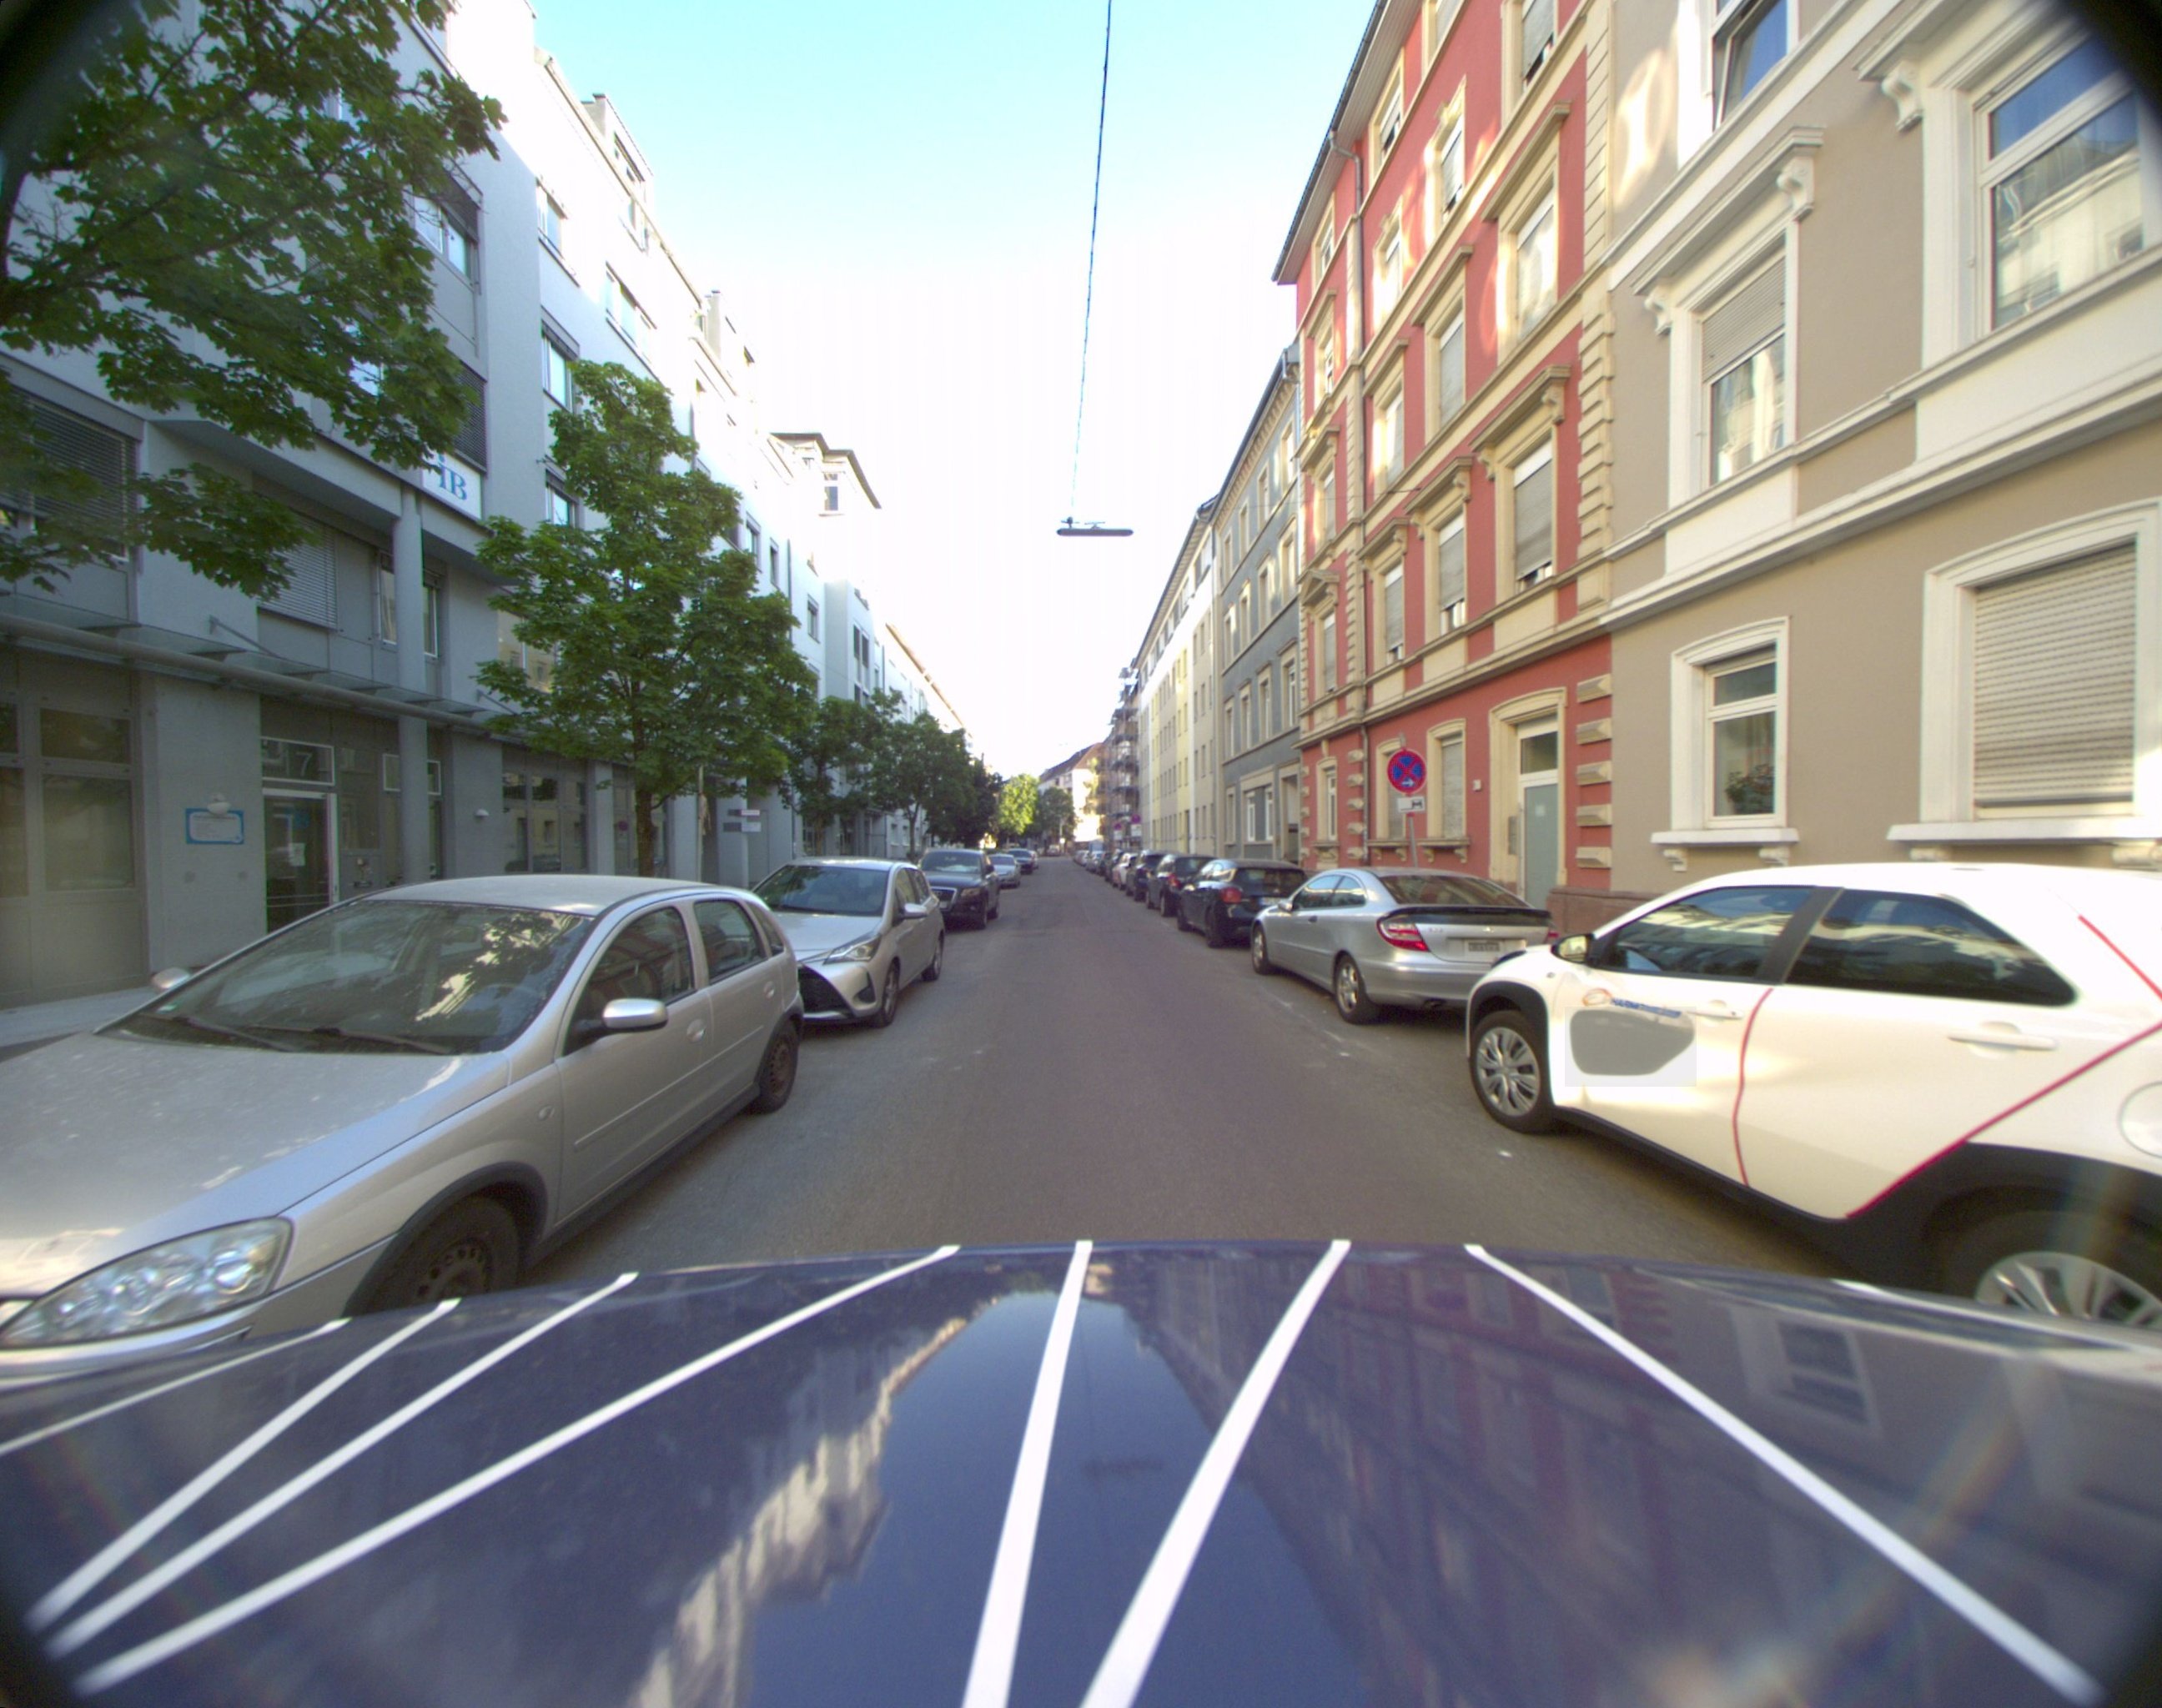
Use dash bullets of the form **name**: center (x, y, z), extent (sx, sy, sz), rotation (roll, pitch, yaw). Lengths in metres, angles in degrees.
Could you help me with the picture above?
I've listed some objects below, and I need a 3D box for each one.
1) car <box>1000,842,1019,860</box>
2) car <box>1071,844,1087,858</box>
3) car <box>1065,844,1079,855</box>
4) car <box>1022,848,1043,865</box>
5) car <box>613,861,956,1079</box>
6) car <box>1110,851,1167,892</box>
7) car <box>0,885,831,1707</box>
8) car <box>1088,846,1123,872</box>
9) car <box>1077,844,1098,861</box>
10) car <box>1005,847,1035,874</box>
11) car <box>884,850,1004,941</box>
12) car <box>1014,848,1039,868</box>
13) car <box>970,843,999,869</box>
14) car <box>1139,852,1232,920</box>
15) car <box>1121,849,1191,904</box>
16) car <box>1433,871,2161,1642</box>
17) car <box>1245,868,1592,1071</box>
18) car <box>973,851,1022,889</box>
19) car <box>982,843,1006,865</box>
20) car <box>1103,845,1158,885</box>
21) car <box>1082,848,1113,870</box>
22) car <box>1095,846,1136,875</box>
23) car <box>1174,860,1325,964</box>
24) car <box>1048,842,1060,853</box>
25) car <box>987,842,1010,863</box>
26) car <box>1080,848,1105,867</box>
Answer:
- **car**: center (-8.374, -0.370, 88.813), extent (1.999, 2.002, 3.998), rotation (-1, 1, -3)
- **car**: center (-0.320, -0.391, 102.891), extent (1.999, 1.783, 3.999), rotation (-1, 1, -2)
- **car**: center (-1.404, -0.707, 119.232), extent (1.999, 1.783, 3.999), rotation (-1, 1, -2)
- **car**: center (-4.438, 0.227, 69.767), extent (1.856, 1.480, 3.998), rotation (-1, 1, -3)
- **car**: center (-2.629, 0.923, 7.906), extent (1.913, 1.576, 3.999), rotation (-1, 1, 1)
- **car**: center (2.213, 0.631, 30.349), extent (1.662, 1.421, 4.351), rotation (-1, 1, -4)
- **car**: center (-2.623, 0.978, 3.318), extent (1.638, 1.439, 4.066), rotation (-1, 1, 1)
- **car**: center (1.583, 0.307, 50.069), extent (1.999, 1.567, 4.148), rotation (-1, 1, -2)
- **car**: center (0.693, -0.180, 80.463), extent (1.999, 1.783, 3.999), rotation (-1, 1, -2)
- **car**: center (-3.953, 0.364, 49.559), extent (1.856, 1.649, 3.998), rotation (-1, 1, -4)
- **car**: center (-2.866, 0.784, 16.854), extent (1.863, 1.679, 4.389), rotation (-1, 1, 0)
- **car**: center (-4.426, 0.324, 62.010), extent (1.903, 1.510, 4.222), rotation (-1, 1, -3)
- **car**: center (-7.873, 0.130, 62.111), extent (1.999, 2.002, 3.998), rotation (-1, 1, -3)
- **car**: center (2.537, 0.732, 19.411), extent (1.537, 1.490, 4.194), rotation (1, 1, -3)
- **car**: center (2.319, 0.646, 24.416), extent (1.598, 1.514, 4.428), rotation (-1, 1, -3)
- **car**: center (3.130, 0.919, 2.908), extent (1.688, 1.487, 3.843), rotation (3, 1, 0)
- **car**: center (3.054, 0.942, 7.880), extent (1.614, 1.420, 3.960), rotation (2, 1, -3)
- **car**: center (-3.551, 0.654, 33.086), extent (1.856, 1.480, 3.998), rotation (-1, 1, -3)
- **car**: center (-8.152, -0.026, 71.604), extent (1.999, 2.002, 3.998), rotation (-1, 1, -3)
- **car**: center (2.223, 0.454, 35.465), extent (1.999, 1.640, 4.491), rotation (-1, 1, -3)
- **car**: center (1.139, 0.343, 55.347), extent (1.999, 1.437, 3.999), rotation (-1, 1, -2)
- **car**: center (2.002, 0.333, 45.381), extent (1.999, 1.576, 4.491), rotation (-1, 1, -3)
- **car**: center (2.758, 0.888, 13.289), extent (1.589, 1.407, 3.911), rotation (3, 1, -2)
- **car**: center (-4.686, -1.123, 132.748), extent (1.999, 1.783, 3.999), rotation (-1, 1, -2)
- **car**: center (-8.221, -0.151, 76.092), extent (1.999, 2.002, 3.998), rotation (-1, 1, -3)
- **car**: center (1.050, 0.312, 70.229), extent (1.999, 1.576, 4.491), rotation (-1, 1, -3)
